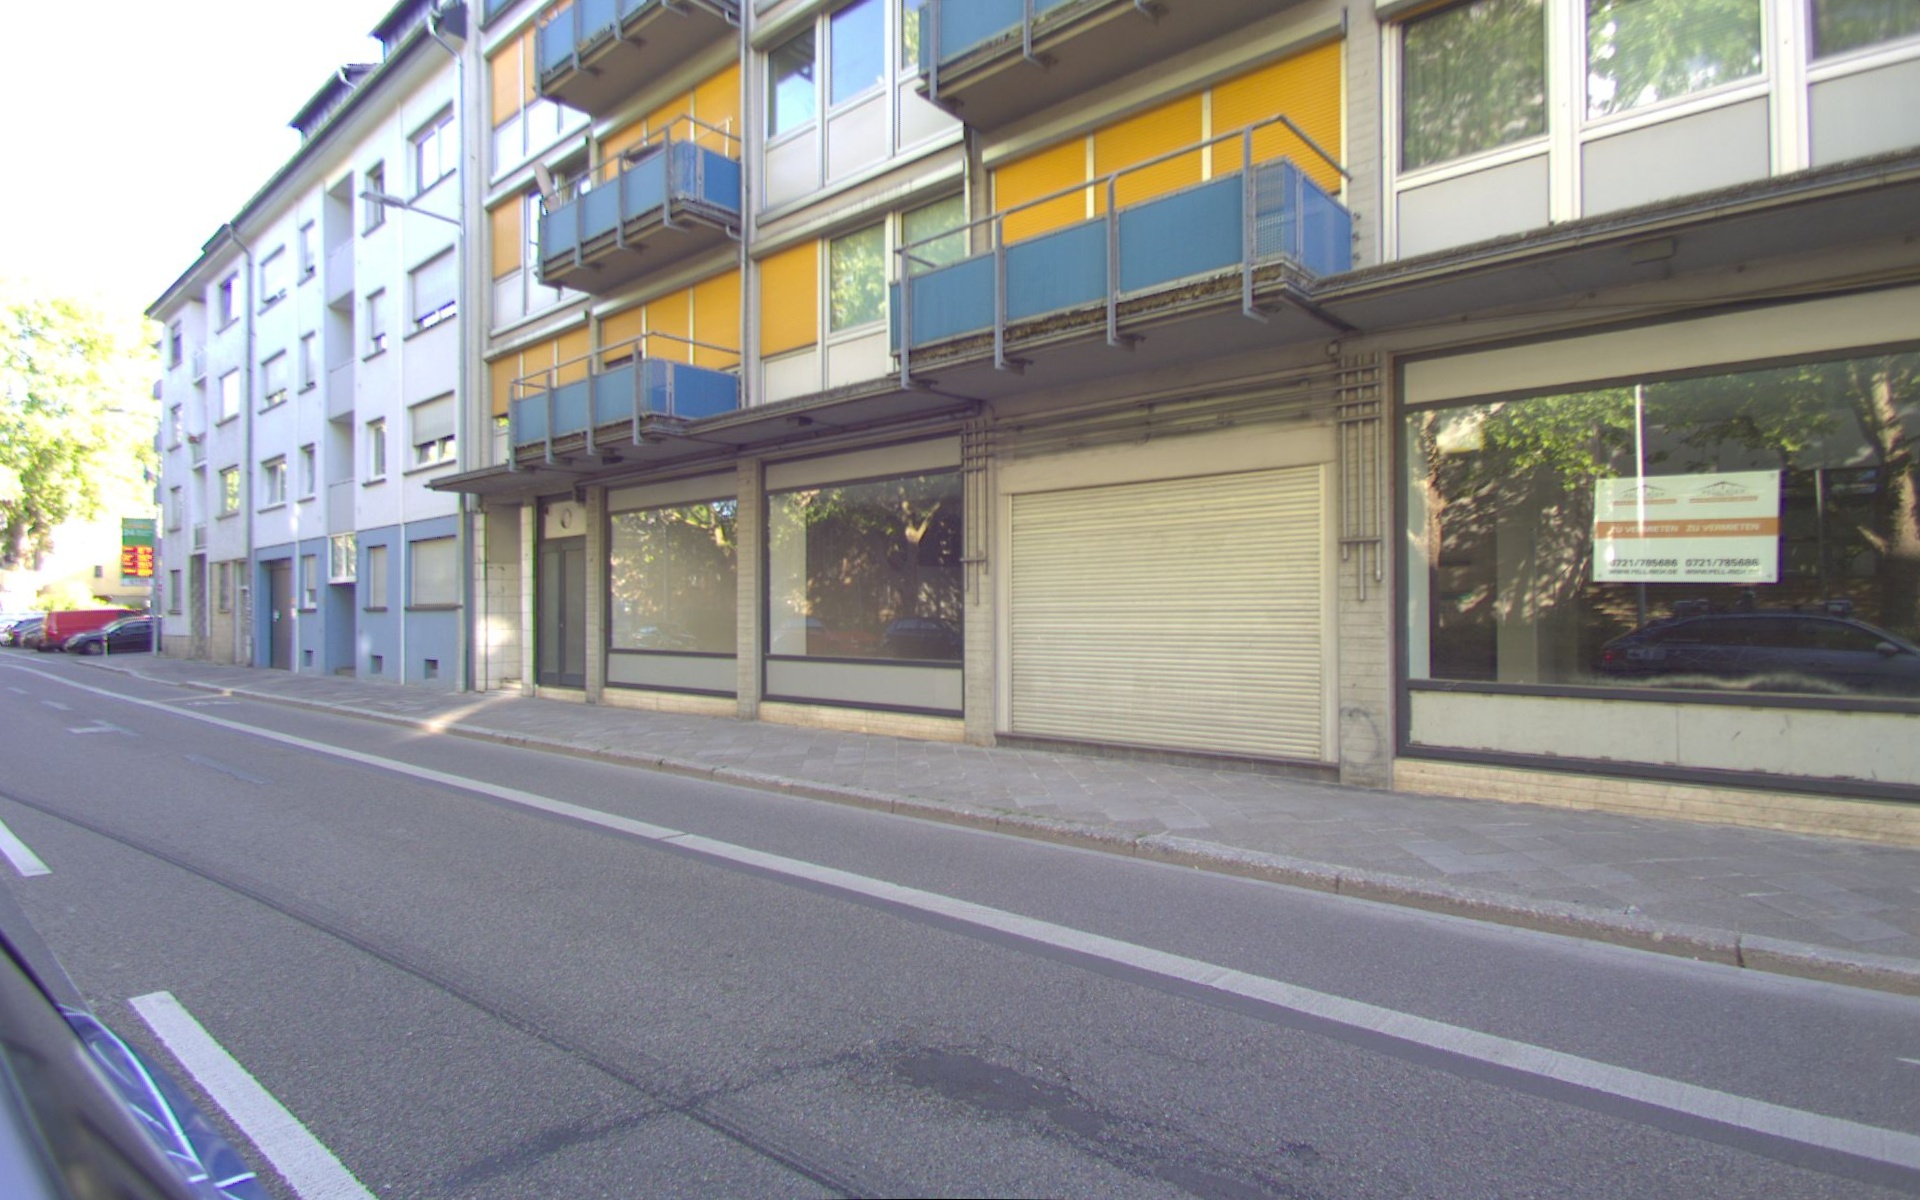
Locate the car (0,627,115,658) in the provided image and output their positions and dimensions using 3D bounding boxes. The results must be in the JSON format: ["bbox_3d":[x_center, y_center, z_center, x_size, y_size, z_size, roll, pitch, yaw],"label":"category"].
[{"bbox_3d":[-43.295,1.995,48.529,1.904,1.282,3.983,-1,0,39],"label":"car"}]

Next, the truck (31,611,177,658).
[{"bbox_3d":[-40.353,1.575,47.833,1.998,2.036,5.024,-1,0,40],"label":"truck"}]

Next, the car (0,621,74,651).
[{"bbox_3d":[-52.886,2.028,57.468,1.656,1.599,3.615,-1,0,35],"label":"car"}]

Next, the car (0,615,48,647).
[{"bbox_3d":[-59.762,1.958,63.831,1.693,1.953,3.224,-1,0,43],"label":"car"}]

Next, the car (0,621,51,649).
[{"bbox_3d":[-56.890,2.113,60.390,1.740,1.600,3.685,-1,0,35],"label":"car"}]

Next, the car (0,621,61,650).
[{"bbox_3d":[-55.070,2.072,58.997,1.715,1.594,3.660,-1,0,35],"label":"car"}]

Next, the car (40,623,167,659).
[{"bbox_3d":[-36.942,1.731,43.714,1.780,1.404,3.947,-1,0,39],"label":"car"}]

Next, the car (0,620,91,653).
[{"bbox_3d":[-50.825,1.995,55.964,1.699,1.640,3.952,-1,0,35],"label":"car"}]
